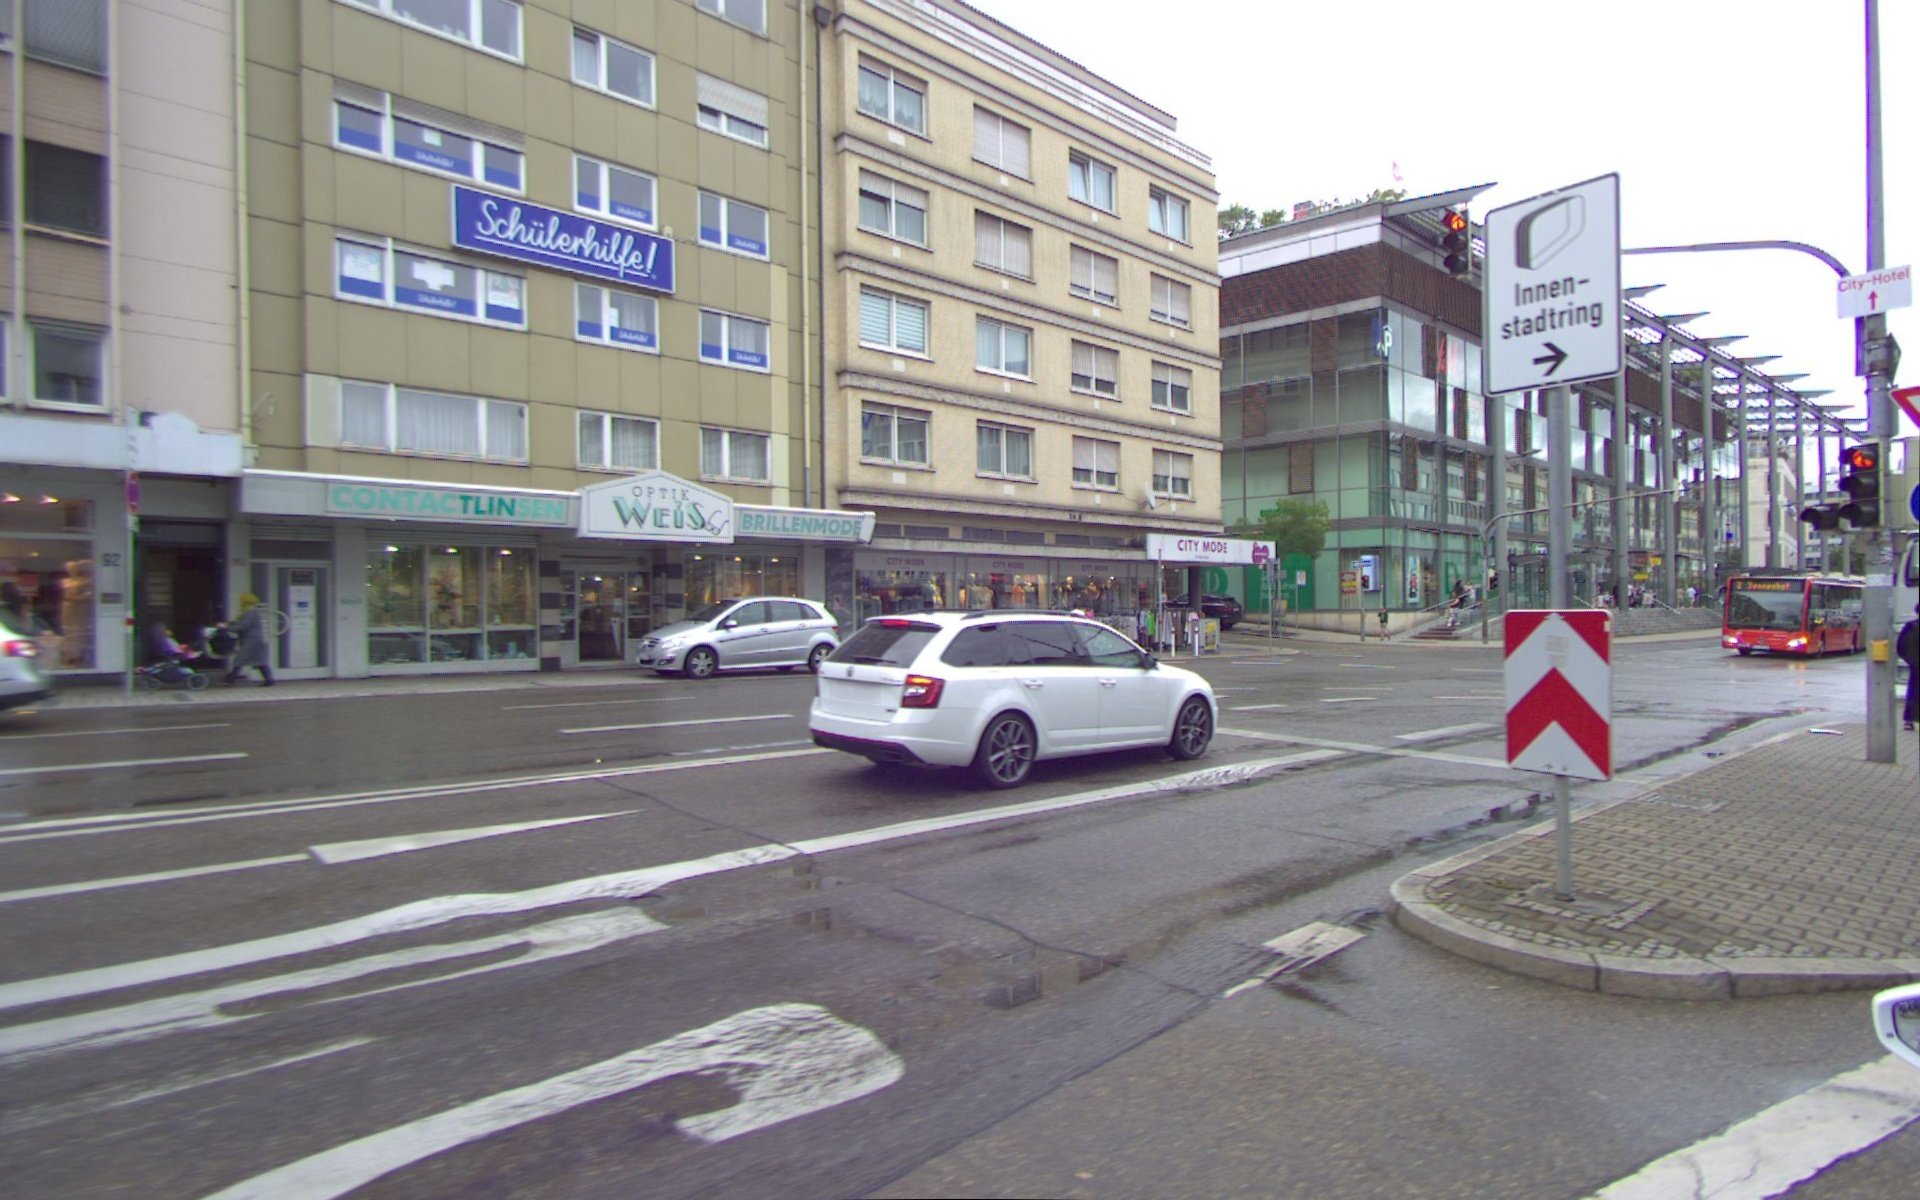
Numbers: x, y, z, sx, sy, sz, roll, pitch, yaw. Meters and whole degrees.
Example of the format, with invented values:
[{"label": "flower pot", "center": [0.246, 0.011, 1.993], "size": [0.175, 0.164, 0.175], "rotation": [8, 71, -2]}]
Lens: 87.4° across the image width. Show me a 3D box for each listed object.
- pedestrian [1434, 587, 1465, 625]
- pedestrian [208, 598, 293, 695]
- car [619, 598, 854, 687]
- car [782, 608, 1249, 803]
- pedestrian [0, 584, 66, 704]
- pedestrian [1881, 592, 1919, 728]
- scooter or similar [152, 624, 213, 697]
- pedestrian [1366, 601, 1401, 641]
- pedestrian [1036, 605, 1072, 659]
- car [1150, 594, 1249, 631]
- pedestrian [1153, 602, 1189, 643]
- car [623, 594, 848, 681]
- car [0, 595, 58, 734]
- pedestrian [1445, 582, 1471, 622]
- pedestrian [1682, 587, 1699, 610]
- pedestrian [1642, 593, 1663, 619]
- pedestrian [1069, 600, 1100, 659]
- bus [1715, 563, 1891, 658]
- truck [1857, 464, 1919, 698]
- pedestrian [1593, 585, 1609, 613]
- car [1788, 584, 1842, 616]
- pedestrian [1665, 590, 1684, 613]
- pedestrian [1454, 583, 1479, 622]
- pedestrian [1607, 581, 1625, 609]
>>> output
[{"label": "pedestrian", "center": [23.093, 0.276, 47.400], "size": [1.028, 1.735, 1.002], "rotation": [1, 0, 44]}, {"label": "pedestrian", "center": [-11.533, 0.726, 16.329], "size": [1.057, 1.504, 0.660], "rotation": [0, 2, -43]}, {"label": "car", "center": [-4.480, 0.778, 20.507], "size": [4.367, 1.571, 1.830], "rotation": [0, 2, -42]}, {"label": "car", "center": [0.736, 0.807, 9.623], "size": [4.597, 1.434, 1.776], "rotation": [1, 0, -42]}, {"label": "pedestrian", "center": [-13.969, 0.625, 14.879], "size": [1.078, 1.718, 0.943], "rotation": [0, 2, -43]}, {"label": "pedestrian", "center": [12.578, 0.777, 13.015], "size": [0.700, 1.734, 0.778], "rotation": [2, 0, -36]}, {"label": "scooter or similar", "center": [-12.197, 0.937, 15.754], "size": [0.696, 1.068, 0.729], "rotation": [0, 2, -42]}, {"label": "pedestrian", "center": [18.706, 0.921, 44.393], "size": [0.990, 1.735, 1.039], "rotation": [1, 0, -13]}, {"label": "pedestrian", "center": [2.773, 0.933, 29.625], "size": [0.676, 1.557, 0.777], "rotation": [1, 1, -43]}, {"label": "car", "center": [11.439, 0.589, 48.178], "size": [4.231, 1.567, 1.797], "rotation": [3, 1, 40]}, {"label": "pedestrian", "center": [8.430, 0.882, 40.151], "size": [1.144, 1.607, 0.865], "rotation": [1, 0, -38]}, {"label": "car", "center": [-4.484, 0.709, 20.393], "size": [4.167, 1.584, 1.686], "rotation": [1, 0, -40]}, {"label": "car", "center": [-12.160, 0.651, 9.983], "size": [4.721, 1.465, 1.768], "rotation": [1, 0, -44]}, {"label": "pedestrian", "center": [25.702, 0.113, 51.806], "size": [0.967, 2.007, 0.873], "rotation": [1, 0, -41]}, {"label": "pedestrian", "center": [55.852, -0.078, 76.795], "size": [0.928, 1.735, 0.986], "rotation": [1, 0, 44]}, {"label": "pedestrian", "center": [47.453, 0.390, 68.863], "size": [1.028, 1.735, 1.002], "rotation": [1, 0, 44]}, {"label": "pedestrian", "center": [3.559, 0.835, 28.847], "size": [0.828, 1.649, 0.775], "rotation": [1, 0, 6]}, {"label": "bus", "center": [36.174, 0.531, 42.595], "size": [18.334, 3.365, 2.894], "rotation": [1, 0, -41]}, {"label": "truck", "center": [21.894, -0.299, 16.274], "size": [2.831, 4.391, 10.650], "rotation": [1, 0, -39]}, {"label": "pedestrian", "center": [40.494, -0.077, 63.422], "size": [0.673, 1.735, 0.845], "rotation": [1, 0, 44]}, {"label": "car", "center": [56.778, 0.017, 66.669], "size": [5.322, 2.062, 2.219], "rotation": [1, 1, -45]}, {"label": "pedestrian", "center": [55.071, 0.123, 77.398], "size": [1.028, 1.735, 1.002], "rotation": [1, 0, 44]}, {"label": "pedestrian", "center": [26.433, 0.133, 52.421], "size": [0.843, 2.007, 0.867], "rotation": [1, 0, -41]}, {"label": "pedestrian", "center": [41.065, -0.327, 62.862], "size": [0.818, 1.735, 0.797], "rotation": [1, 0, 44]}]
